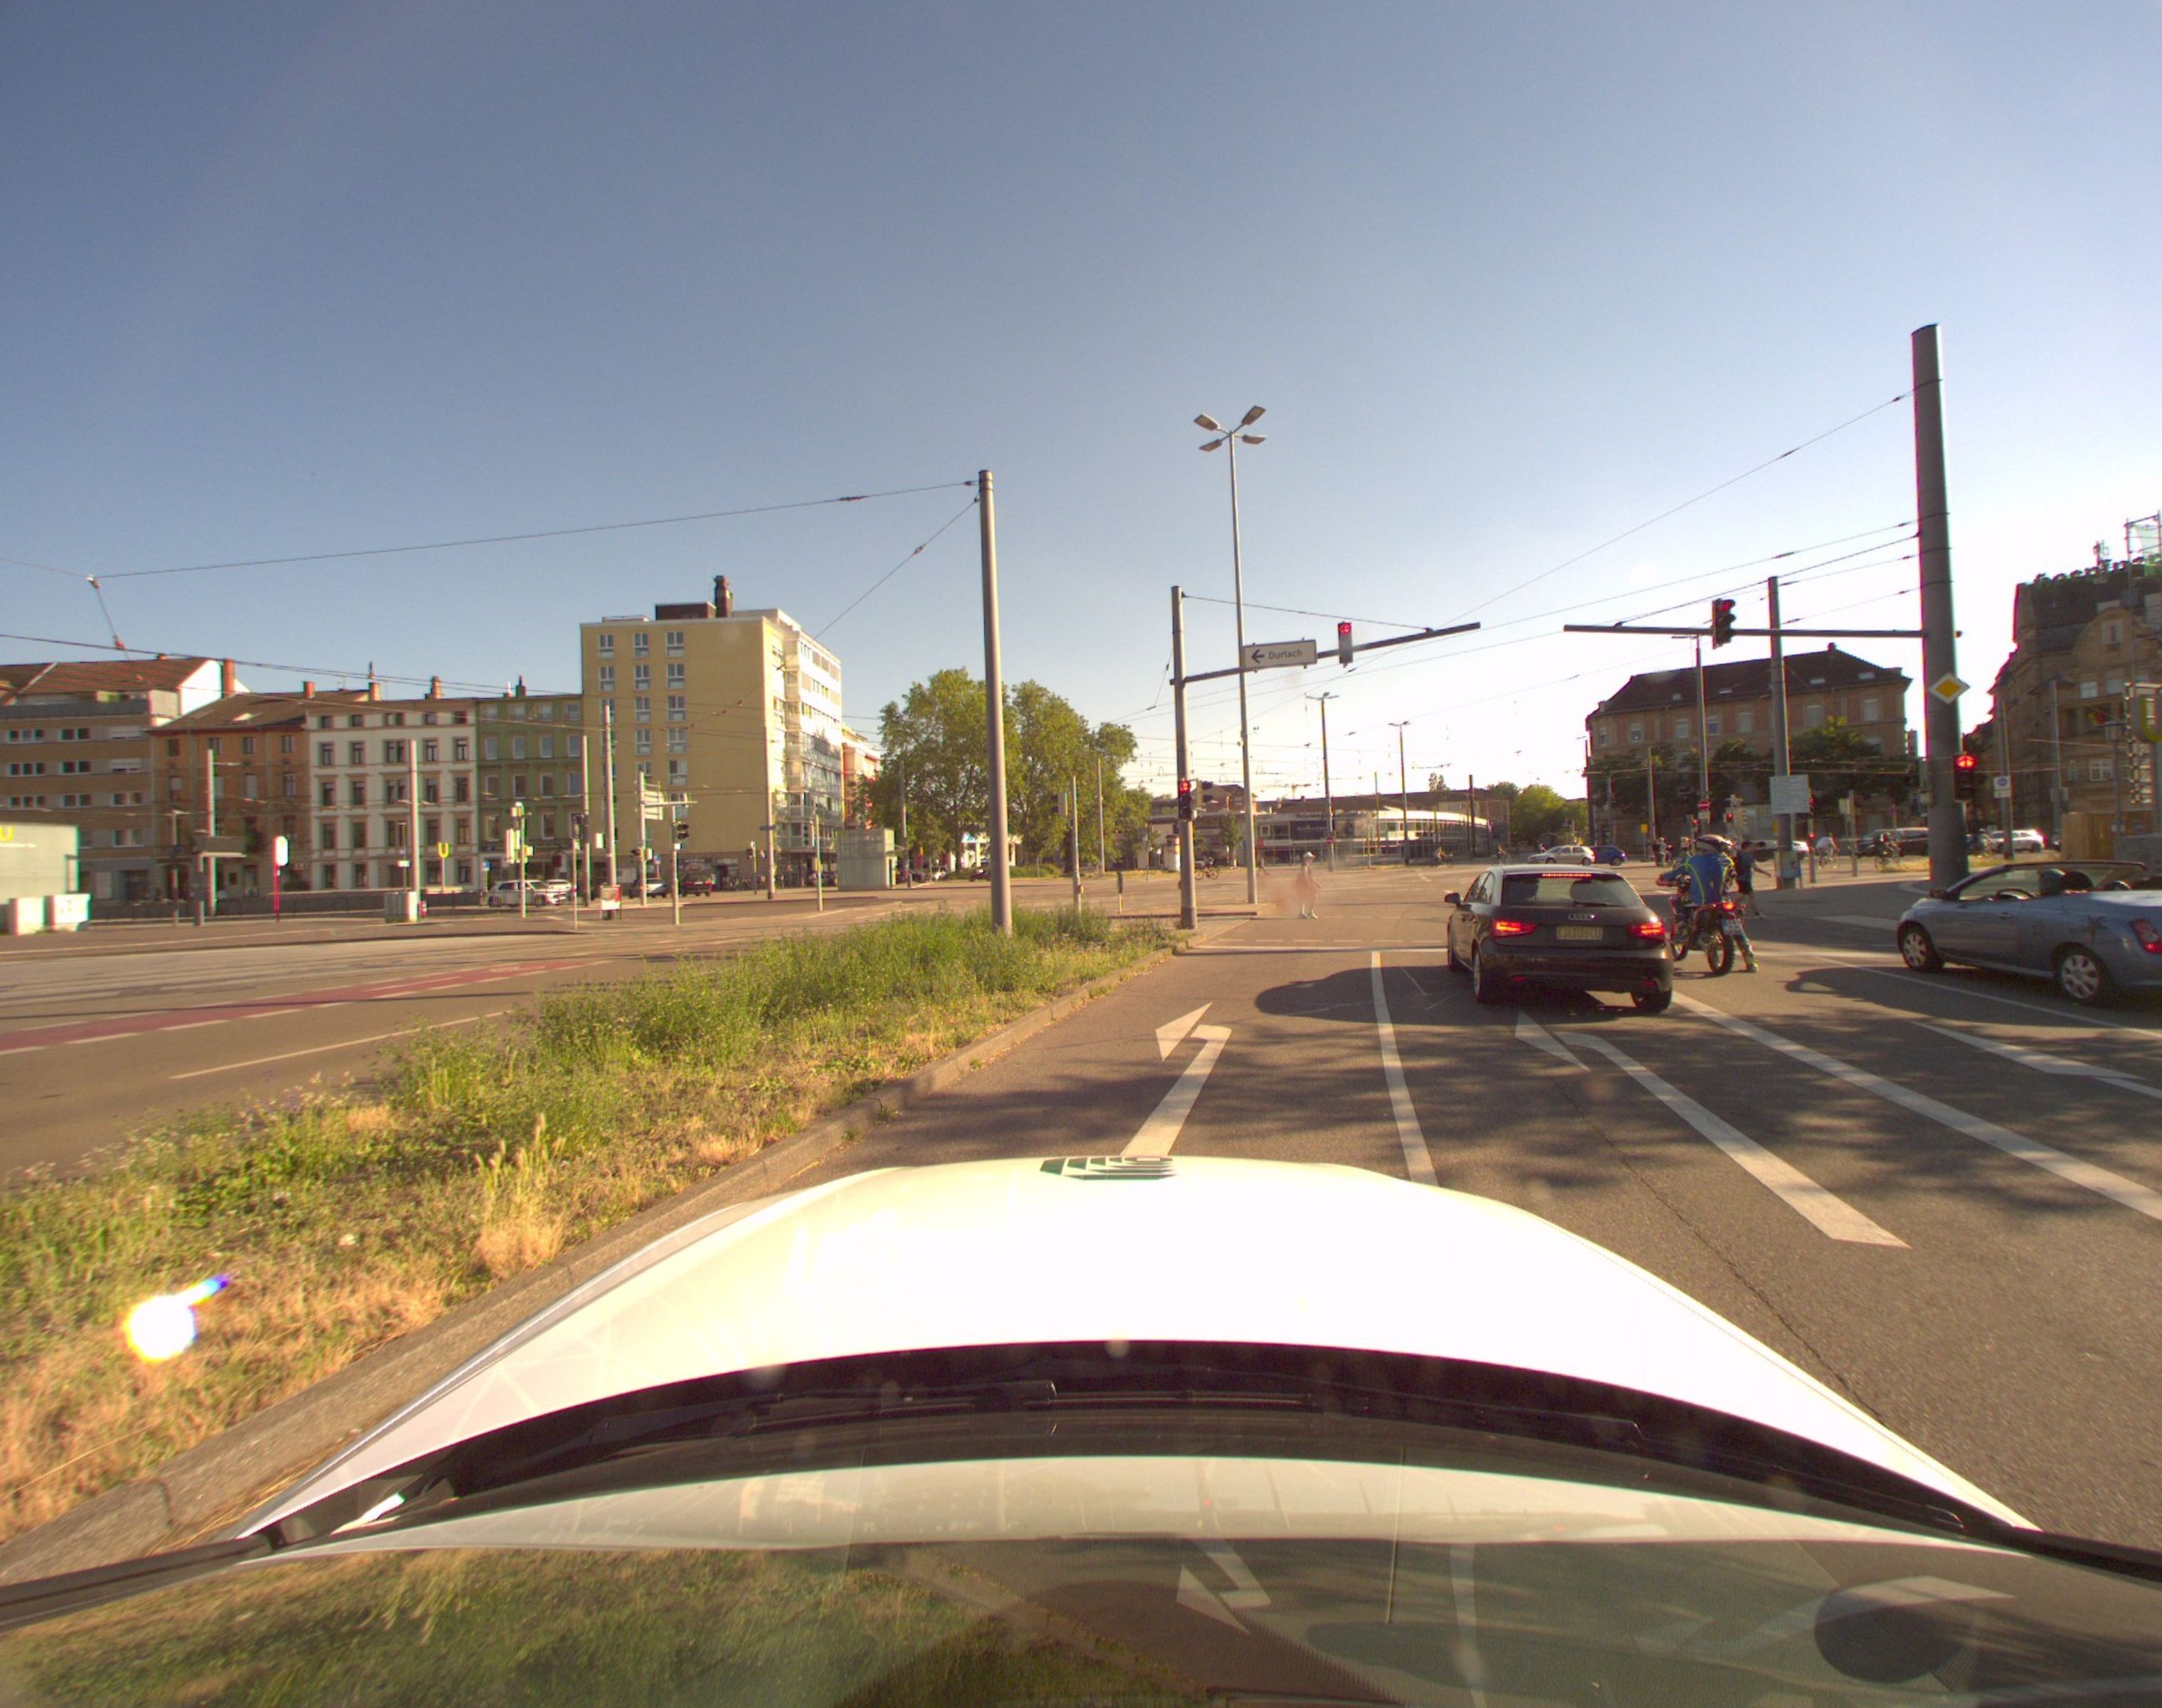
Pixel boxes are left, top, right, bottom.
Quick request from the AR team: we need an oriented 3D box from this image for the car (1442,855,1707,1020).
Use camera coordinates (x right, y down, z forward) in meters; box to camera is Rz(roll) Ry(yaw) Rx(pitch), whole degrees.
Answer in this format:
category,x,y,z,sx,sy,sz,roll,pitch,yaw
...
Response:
category,x,y,z,sx,sy,sz,roll,pitch,yaw
car,5.282,0.741,9.296,1.786,1.444,3.997,-1,0,19

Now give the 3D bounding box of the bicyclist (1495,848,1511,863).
category,x,y,z,sx,sy,sz,roll,pitch,yaw
bicyclist,33.310,0.145,64.313,0.712,1.143,0.835,-2,1,-9

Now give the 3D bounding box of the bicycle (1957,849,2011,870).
category,x,y,z,sx,sy,sz,roll,pitch,yaw
bicycle,43.207,0.238,38.965,2.302,0.905,0.855,-2,1,-18

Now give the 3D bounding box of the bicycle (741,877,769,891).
category,x,y,z,sx,sy,sz,roll,pitch,yaw
bicycle,-27.034,2.493,67.554,2.036,1.090,0.777,-2,-1,-1

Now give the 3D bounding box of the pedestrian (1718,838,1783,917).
category,x,y,z,sx,sy,sz,roll,pitch,yaw
pedestrian,14.865,0.512,18.089,0.829,1.672,0.694,-3,-2,-20

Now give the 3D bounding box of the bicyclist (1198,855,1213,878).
category,x,y,z,sx,sy,sz,roll,pitch,yaw
bicyclist,8.835,0.865,57.701,0.919,1.559,0.964,-2,-1,4

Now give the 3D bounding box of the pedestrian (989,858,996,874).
category,x,y,z,sx,sy,sz,roll,pitch,yaw
pedestrian,-11.341,1.586,104.137,0.583,2.014,0.714,-2,-1,19

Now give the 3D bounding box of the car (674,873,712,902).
category,x,y,z,sx,sy,sz,roll,pitch,yaw
car,-28.004,2.382,58.715,1.861,1.857,3.957,-2,1,-35

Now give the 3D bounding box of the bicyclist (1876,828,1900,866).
category,x,y,z,sx,sy,sz,roll,pitch,yaw
bicyclist,36.692,-0.319,37.032,0.643,1.690,0.866,-1,1,37

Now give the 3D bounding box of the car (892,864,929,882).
category,x,y,z,sx,sy,sz,roll,pitch,yaw
car,-19.912,2.220,95.020,3.995,1.857,1.843,-2,1,-16

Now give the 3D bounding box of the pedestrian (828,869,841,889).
category,x,y,z,sx,sy,sz,roll,pitch,yaw
pedestrian,-21.130,2.133,69.771,0.773,1.676,0.783,-2,-1,2

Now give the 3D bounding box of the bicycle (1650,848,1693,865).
category,x,y,z,sx,sy,sz,roll,pitch,yaw
bicycle,34.812,0.126,48.025,2.301,0.905,0.855,-2,1,-17

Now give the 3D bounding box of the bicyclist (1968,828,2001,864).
category,x,y,z,sx,sy,sz,roll,pitch,yaw
bicyclist,43.245,-0.388,38.996,0.651,1.690,0.855,-2,1,-18

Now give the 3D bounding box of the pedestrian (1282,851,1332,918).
category,x,y,z,sx,sy,sz,roll,pitch,yaw
pedestrian,5.565,0.741,20.088,1.086,1.606,0.700,-1,1,8

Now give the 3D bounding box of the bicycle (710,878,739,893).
category,x,y,z,sx,sy,sz,roll,pitch,yaw
bicycle,-29.165,2.571,66.672,2.036,1.090,0.777,-2,-1,-1

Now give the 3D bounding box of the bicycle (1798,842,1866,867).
category,x,y,z,sx,sy,sz,roll,pitch,yaw
bicycle,36.526,0.009,39.630,2.484,1.133,0.860,-2,1,1

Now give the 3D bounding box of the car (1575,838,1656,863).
category,x,y,z,sx,sy,sz,roll,pitch,yaw
car,37.962,-0.228,58.030,4.559,1.594,1.965,-2,-1,26

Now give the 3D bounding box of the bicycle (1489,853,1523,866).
category,x,y,z,sx,sy,sz,roll,pitch,yaw
bicycle,33.593,0.450,64.372,2.296,0.959,0.857,-2,1,-10

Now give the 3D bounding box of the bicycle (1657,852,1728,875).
category,x,y,z,sx,sy,sz,roll,pitch,yaw
bicycle,26.539,0.401,35.366,2.487,0.874,0.859,-2,1,-3

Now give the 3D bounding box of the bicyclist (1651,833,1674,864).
category,x,y,z,sx,sy,sz,roll,pitch,yaw
bicyclist,34.174,-0.295,47.865,0.584,1.778,0.862,-2,-1,-15

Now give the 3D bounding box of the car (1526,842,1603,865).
category,x,y,z,sx,sy,sz,roll,pitch,yaw
car,32.696,-0.024,55.148,4.086,1.452,1.951,-2,-1,-4

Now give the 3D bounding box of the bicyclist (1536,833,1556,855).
category,x,y,z,sx,sy,sz,roll,pitch,yaw
bicyclist,40.420,-0.888,70.822,1.078,1.900,1.110,-2,1,-36

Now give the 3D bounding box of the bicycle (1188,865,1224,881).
category,x,y,z,sx,sy,sz,roll,pitch,yaw
bicycle,8.850,1.360,57.697,2.427,1.003,0.964,-2,-1,3

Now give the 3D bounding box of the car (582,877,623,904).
category,x,y,z,sx,sy,sz,roll,pitch,yaw
car,-34.381,2.586,58.442,1.849,1.719,3.953,-3,2,-40

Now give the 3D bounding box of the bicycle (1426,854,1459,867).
category,x,y,z,sx,sy,sz,roll,pitch,yaw
bicycle,29.366,0.498,66.141,2.291,0.979,0.859,-2,1,-3

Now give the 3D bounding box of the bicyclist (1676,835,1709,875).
category,x,y,z,sx,sy,sz,roll,pitch,yaw
bicyclist,26.555,0.023,35.365,0.743,1.690,0.859,-2,1,-2

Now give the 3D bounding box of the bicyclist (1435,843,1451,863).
category,x,y,z,sx,sy,sz,roll,pitch,yaw
bicyclist,29.401,-0.109,66.118,0.921,1.559,0.859,-2,1,-3

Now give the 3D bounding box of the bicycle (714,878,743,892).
category,x,y,z,sx,sy,sz,roll,pitch,yaw
bicycle,-29.246,2.554,67.544,2.036,1.090,0.777,-2,-1,-1

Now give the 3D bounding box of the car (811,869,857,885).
category,x,y,z,sx,sy,sz,roll,pitch,yaw
car,-24.187,2.216,79.888,3.978,1.422,1.811,-2,-1,-4

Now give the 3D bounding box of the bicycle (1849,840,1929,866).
category,x,y,z,sx,sy,sz,roll,pitch,yaw
bicycle,36.690,-0.020,37.036,2.469,1.133,0.866,-1,1,37

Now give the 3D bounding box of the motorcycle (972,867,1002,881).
category,x,y,z,sx,sy,sz,roll,pitch,yaw
motorcycle,-7.698,1.659,66.564,2.273,1.054,0.689,-1,1,6

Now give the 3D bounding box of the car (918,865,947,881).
category,x,y,z,sx,sy,sz,roll,pitch,yaw
car,-14.834,1.875,81.554,1.839,1.452,4.003,-2,-1,3

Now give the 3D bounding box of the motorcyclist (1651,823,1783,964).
category,x,y,z,sx,sy,sz,roll,pitch,yaw
motorcyclist,8.240,0.498,10.616,1.087,1.721,0.941,-1,-1,20

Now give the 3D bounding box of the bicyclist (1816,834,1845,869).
category,x,y,z,sx,sy,sz,roll,pitch,yaw
bicyclist,36.472,-0.136,39.631,0.647,1.690,0.860,-2,1,1

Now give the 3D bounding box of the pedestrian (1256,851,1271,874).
category,x,y,z,sx,sy,sz,roll,pitch,yaw
pedestrian,14.358,0.666,64.015,0.981,1.816,0.924,-1,1,17

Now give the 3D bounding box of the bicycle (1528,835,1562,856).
category,x,y,z,sx,sy,sz,roll,pitch,yaw
bicycle,40.355,-0.785,70.815,4.019,1.690,1.126,-3,1,-37

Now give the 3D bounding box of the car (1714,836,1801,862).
category,x,y,z,sx,sy,sz,roll,pitch,yaw
car,43.585,-0.331,52.520,4.082,1.486,1.950,-2,-1,-5

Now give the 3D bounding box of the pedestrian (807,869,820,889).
category,x,y,z,sx,sy,sz,roll,pitch,yaw
pedestrian,-22.949,2.183,69.982,0.773,1.676,0.783,-2,-1,2

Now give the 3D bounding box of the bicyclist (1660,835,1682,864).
category,x,y,z,sx,sy,sz,roll,pitch,yaw
bicyclist,34.807,-0.257,48.038,0.651,1.690,0.855,-2,1,-16

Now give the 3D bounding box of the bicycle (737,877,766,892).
category,x,y,z,sx,sy,sz,roll,pitch,yaw
bicycle,-26.989,2.511,66.706,2.036,1.090,0.777,-2,-1,-1

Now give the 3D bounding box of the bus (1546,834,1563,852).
category,x,y,z,sx,sy,sz,roll,pitch,yaw
bus,80.001,-1.880,137.608,2.332,2.883,9.639,-1,1,29

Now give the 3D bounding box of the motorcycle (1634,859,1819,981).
category,x,y,z,sx,sy,sz,roll,pitch,yaw
motorcycle,8.239,0.762,10.600,1.087,1.377,2.666,-1,-1,20

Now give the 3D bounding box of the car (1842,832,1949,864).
category,x,y,z,sx,sy,sz,roll,pitch,yaw
car,53.168,-0.365,53.242,4.811,1.893,1.956,-2,-1,5

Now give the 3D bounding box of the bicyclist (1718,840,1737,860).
category,x,y,z,sx,sy,sz,roll,pitch,yaw
bicyclist,38.024,-0.247,47.908,0.849,1.176,0.719,-1,1,39

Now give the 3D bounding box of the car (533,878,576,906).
category,x,y,z,sx,sy,sz,roll,pitch,yaw
car,-37.924,2.678,58.630,2.098,1.719,3.963,-3,2,-40

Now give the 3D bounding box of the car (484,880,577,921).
category,x,y,z,sx,sy,sz,roll,pitch,yaw
car,-30.718,2.583,45.523,3.723,2.013,2.000,-2,1,-1

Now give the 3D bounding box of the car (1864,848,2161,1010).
category,x,y,z,sx,sy,sz,roll,pitch,yaw
car,10.949,0.669,8.990,1.786,1.444,3.997,-1,0,19

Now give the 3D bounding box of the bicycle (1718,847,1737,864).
category,x,y,z,sx,sy,sz,roll,pitch,yaw
bicycle,38.110,0.065,48.006,0.849,0.905,2.318,-1,2,38

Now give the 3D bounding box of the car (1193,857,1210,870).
category,x,y,z,sx,sy,sz,roll,pitch,yaw
car,16.509,1.258,111.647,1.979,1.534,4.015,-1,1,13

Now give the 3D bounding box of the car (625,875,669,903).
category,x,y,z,sx,sy,sz,roll,pitch,yaw
car,-31.152,2.483,58.453,1.850,1.748,3.952,-3,2,-42

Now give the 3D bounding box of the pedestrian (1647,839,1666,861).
category,x,y,z,sx,sy,sz,roll,pitch,yaw
pedestrian,44.836,-0.325,63.458,0.916,1.676,0.786,-2,-1,19

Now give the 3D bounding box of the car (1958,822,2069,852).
category,x,y,z,sx,sy,sz,roll,pitch,yaw
car,62.216,-1.104,54.394,4.809,1.799,1.957,-2,-1,6
